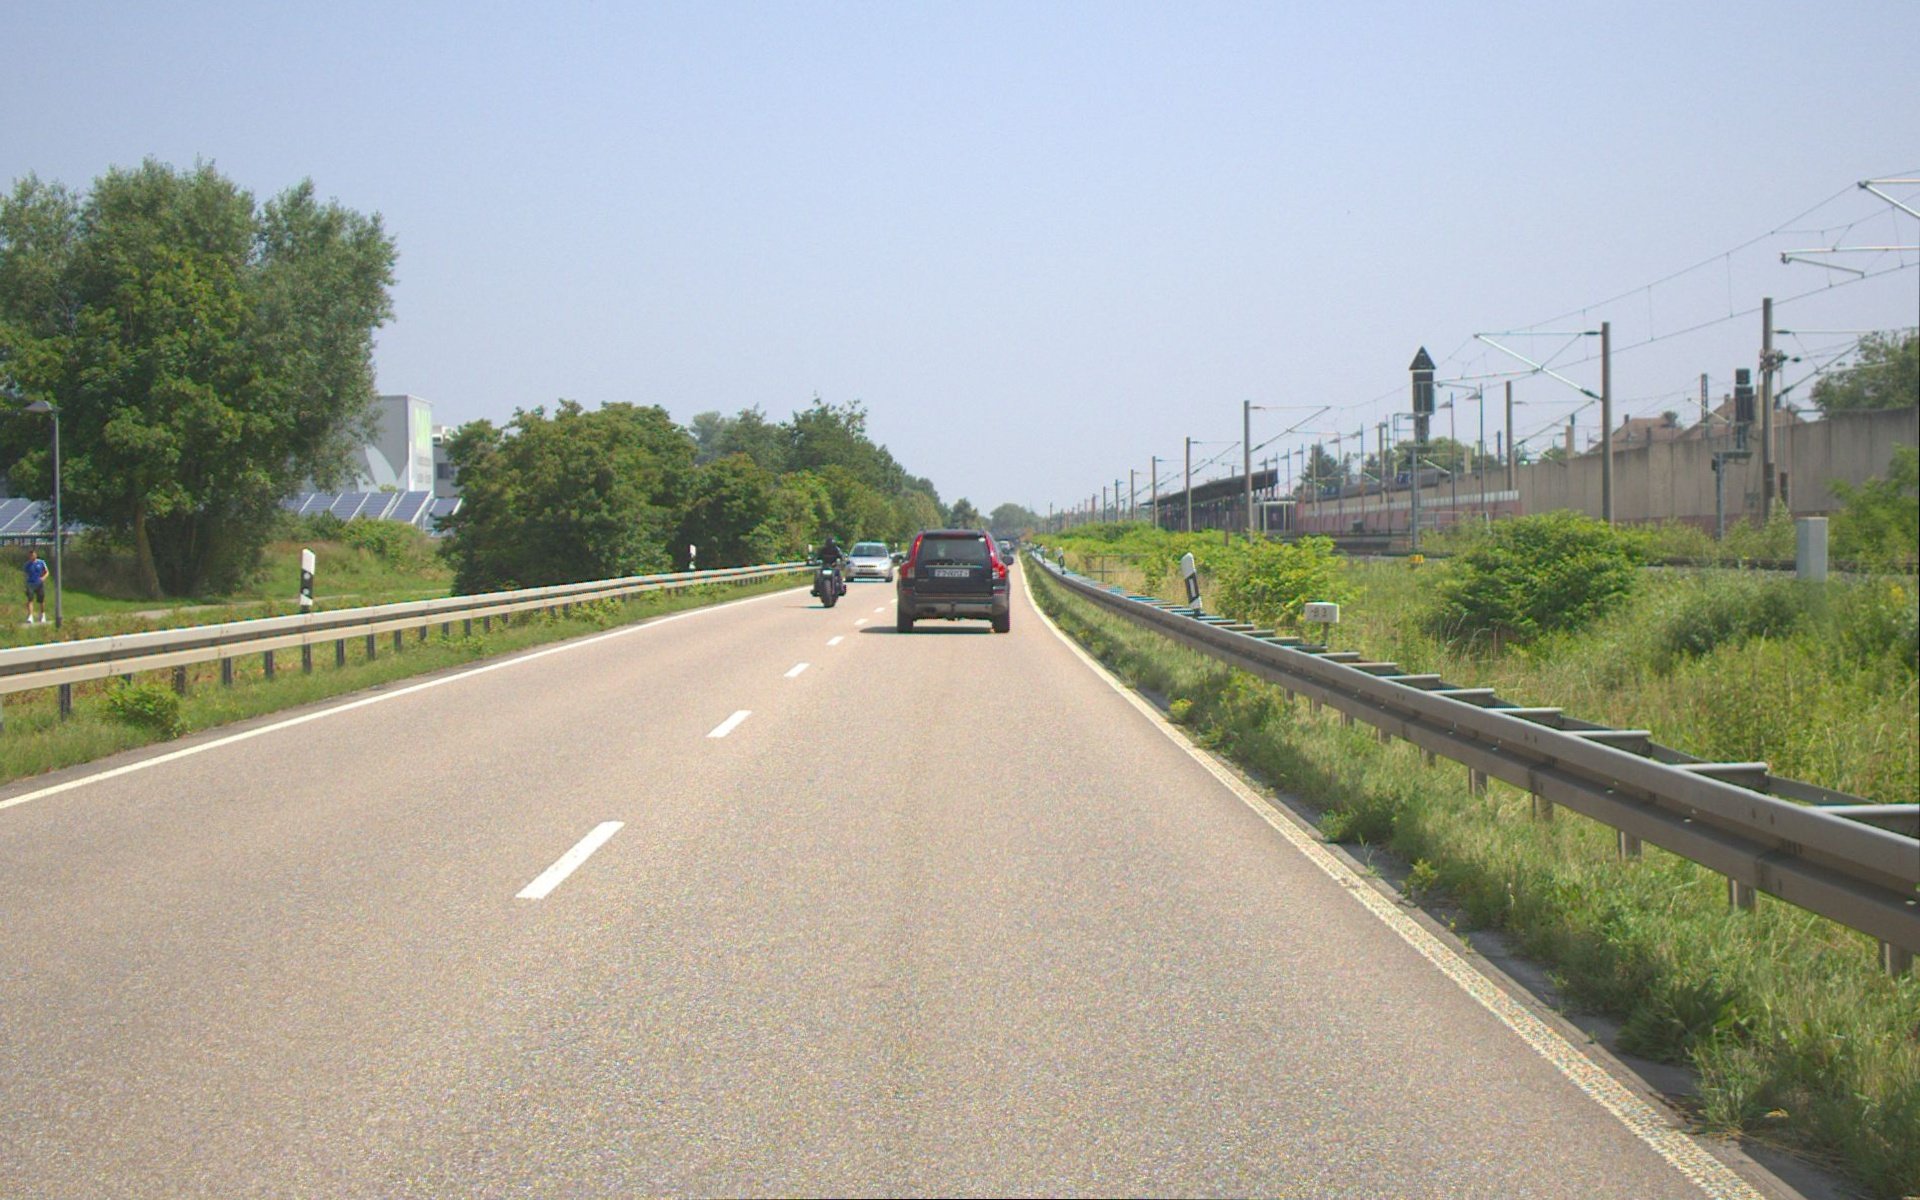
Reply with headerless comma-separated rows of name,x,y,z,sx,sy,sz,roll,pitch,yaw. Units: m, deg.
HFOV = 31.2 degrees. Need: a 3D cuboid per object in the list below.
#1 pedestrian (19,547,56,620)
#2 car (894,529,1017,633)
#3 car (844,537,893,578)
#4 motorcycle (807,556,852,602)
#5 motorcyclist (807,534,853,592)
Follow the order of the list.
pedestrian,-22.446,-0.400,83.639,0.579,1.744,0.820,-2,1,5
car,-0.114,-0.333,58.041,1.993,1.694,4.000,0,1,-1
car,-3.433,-1.605,129.531,1.698,1.469,4.686,1,1,0
motorcycle,-3.013,-0.495,79.305,0.928,1.024,2.268,1,1,0
motorcyclist,-2.990,-0.848,79.250,0.993,1.305,0.935,1,1,0
